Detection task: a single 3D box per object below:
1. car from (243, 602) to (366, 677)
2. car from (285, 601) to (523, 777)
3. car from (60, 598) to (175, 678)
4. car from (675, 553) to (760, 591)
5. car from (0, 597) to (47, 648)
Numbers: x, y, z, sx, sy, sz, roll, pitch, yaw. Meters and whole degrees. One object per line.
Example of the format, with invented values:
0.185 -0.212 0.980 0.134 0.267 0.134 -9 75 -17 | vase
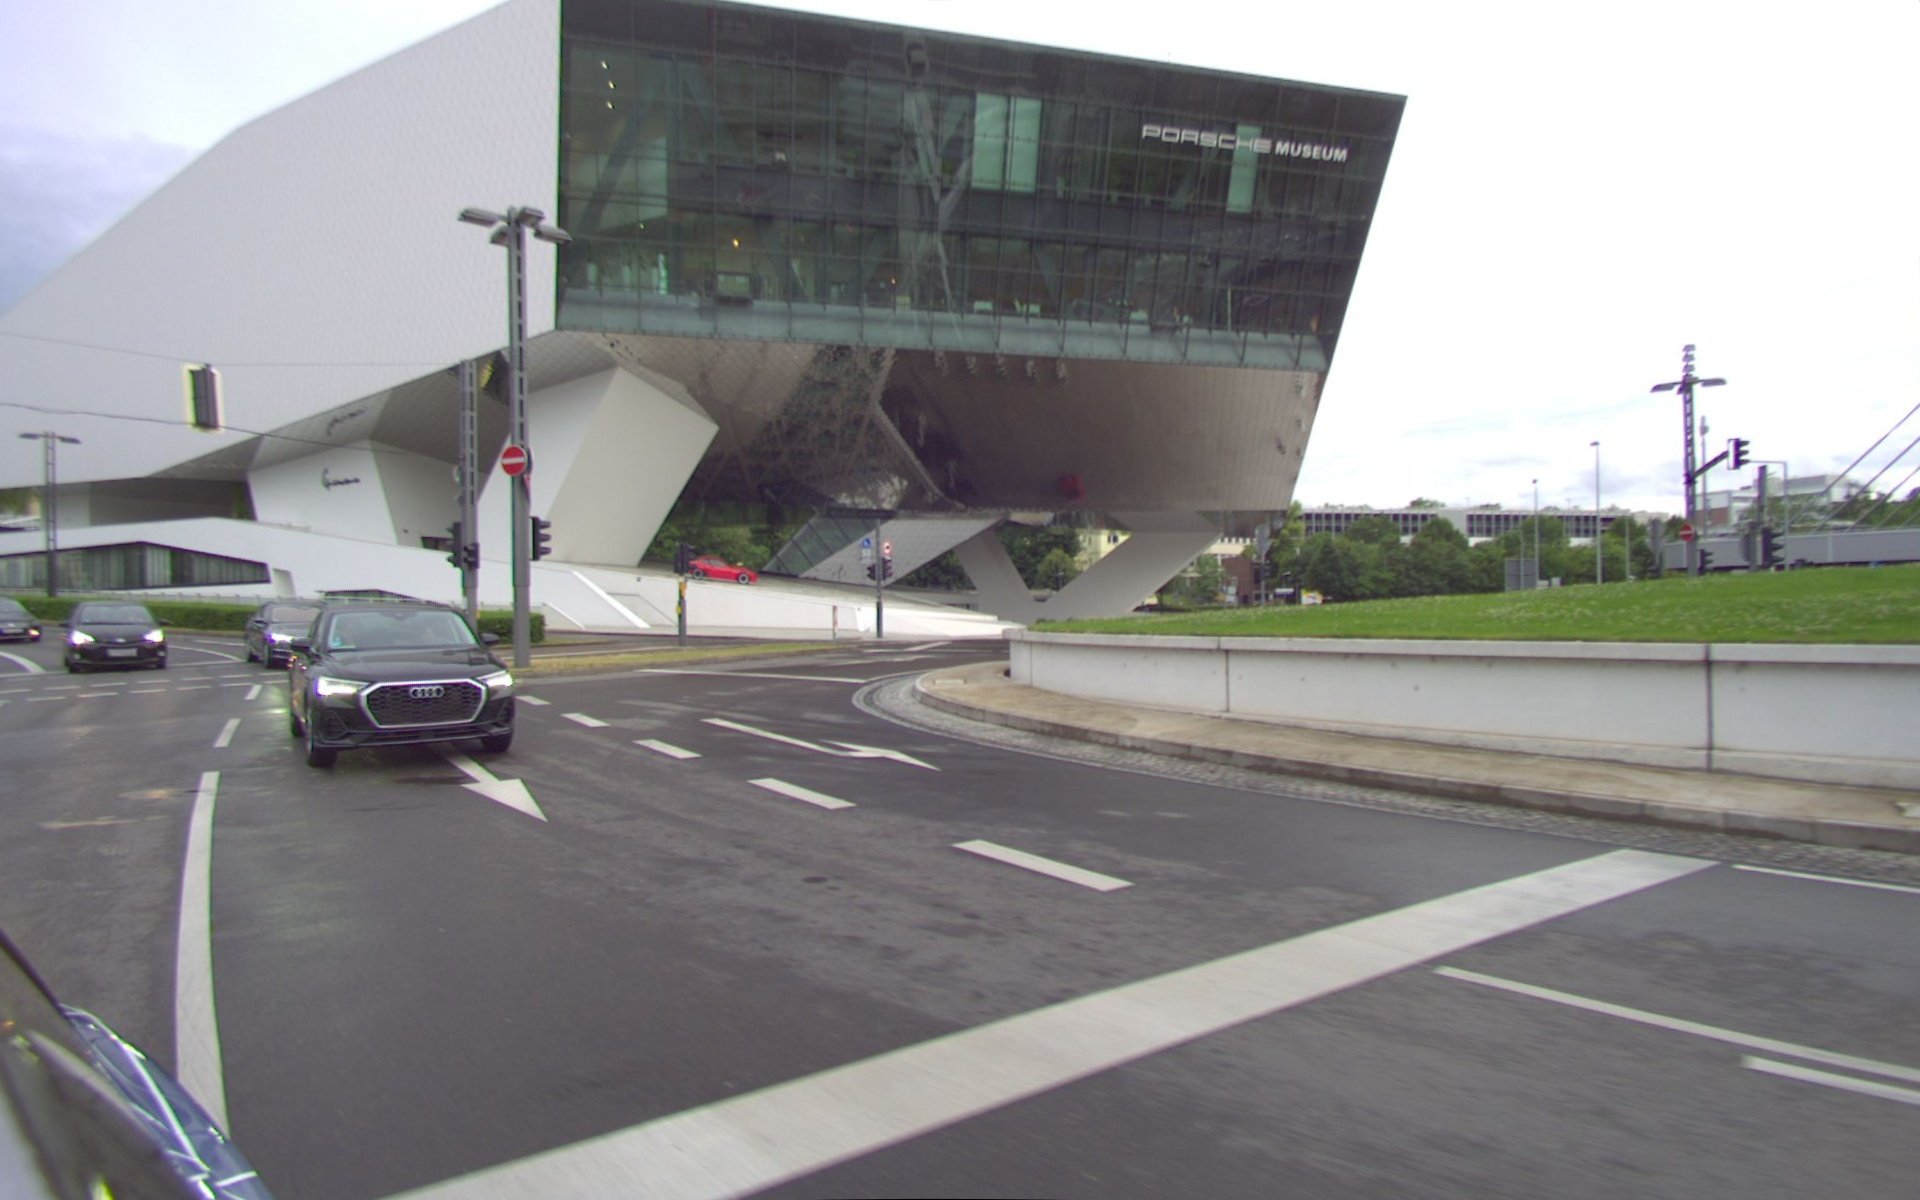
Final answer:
-15.365 0.836 23.616 1.790 1.449 4.308 -2 2 -41 | car
-6.244 0.812 11.094 1.729 1.530 4.405 0 -1 -36 | car
-18.975 0.775 22.728 1.670 1.518 4.014 -1 2 -44 | car
-12.905 -1.468 53.733 4.175 1.394 2.006 7 -2 -16 | car
-31.190 0.702 32.635 4.060 1.485 1.729 1 2 35 | car
